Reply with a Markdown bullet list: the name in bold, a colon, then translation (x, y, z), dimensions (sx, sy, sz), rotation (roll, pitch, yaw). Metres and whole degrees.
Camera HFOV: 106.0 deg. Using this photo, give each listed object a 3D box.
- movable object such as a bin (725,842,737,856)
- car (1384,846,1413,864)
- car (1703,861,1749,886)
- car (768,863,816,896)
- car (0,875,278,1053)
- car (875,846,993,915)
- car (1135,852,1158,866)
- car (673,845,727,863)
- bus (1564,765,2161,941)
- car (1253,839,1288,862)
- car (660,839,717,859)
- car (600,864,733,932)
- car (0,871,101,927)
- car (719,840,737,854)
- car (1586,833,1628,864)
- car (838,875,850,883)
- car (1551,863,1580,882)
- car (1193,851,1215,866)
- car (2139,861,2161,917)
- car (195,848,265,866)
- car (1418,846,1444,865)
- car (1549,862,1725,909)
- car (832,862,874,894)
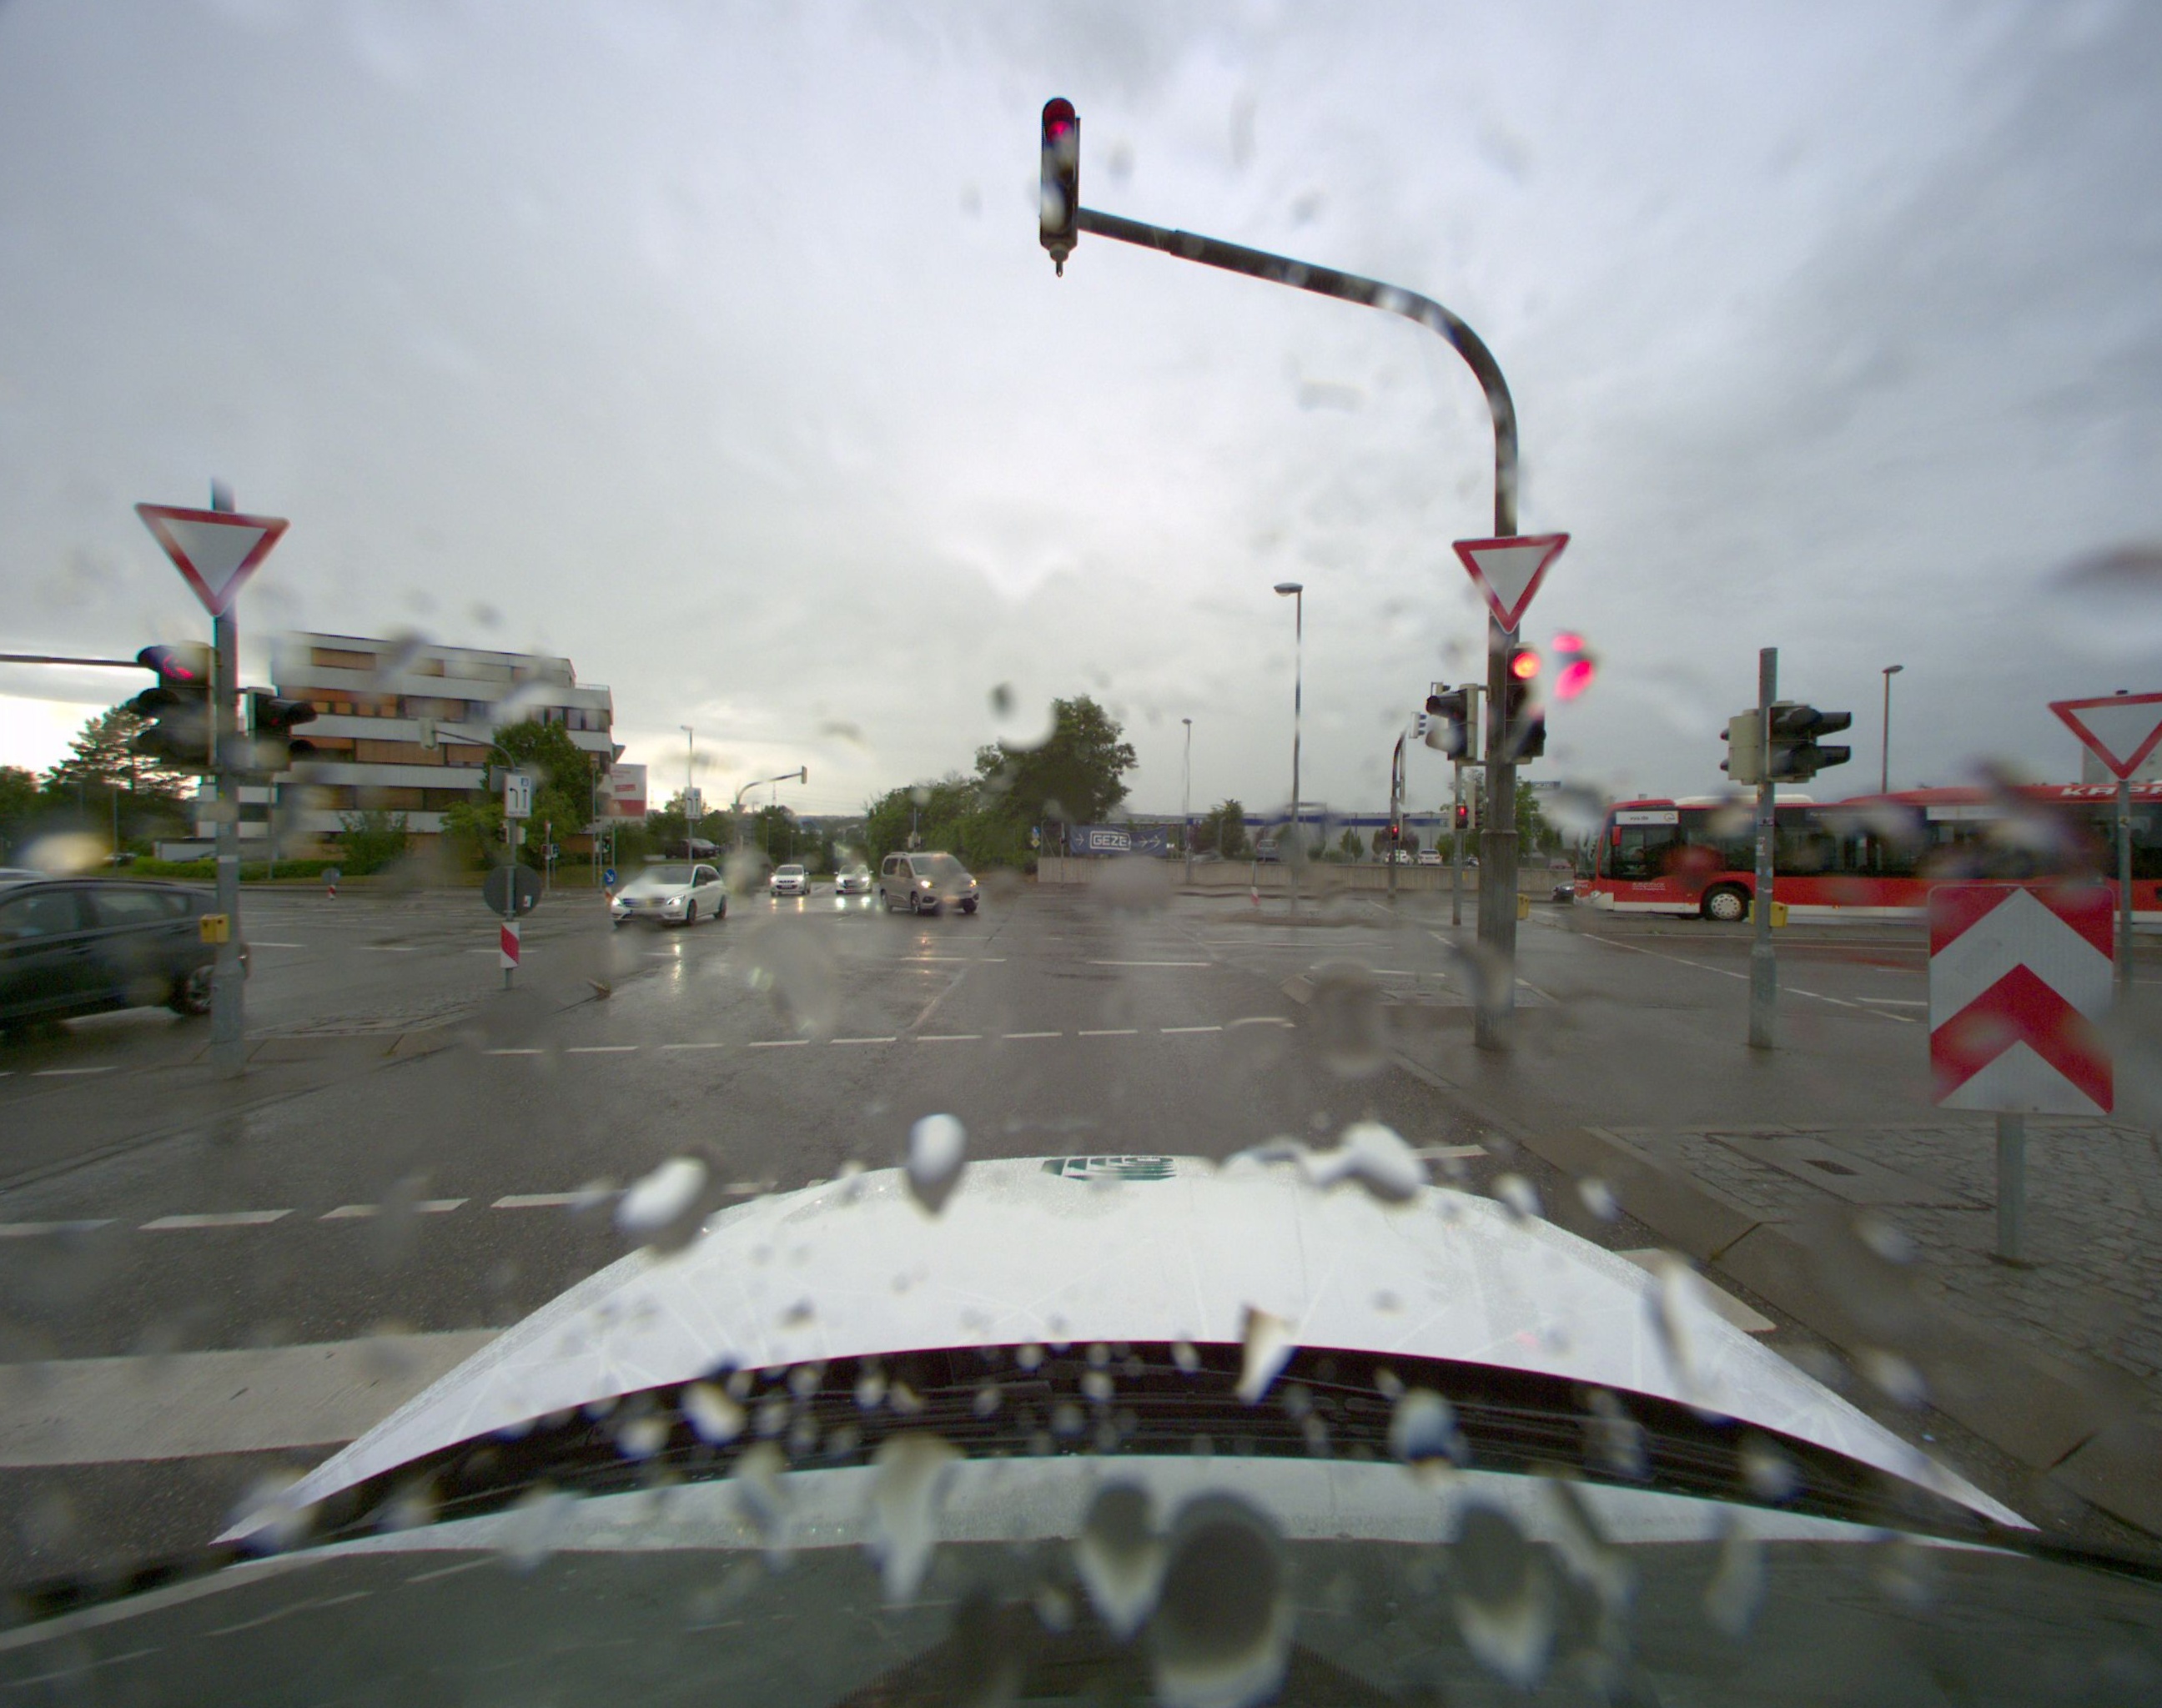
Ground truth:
- **movable object such as a bin**: translation (-37.757, -0.519, 87.881), dimensions (1.089, 1.437, 1.434), rotation (1, -3, -25)
- **car**: translation (26.474, 0.124, 67.875), dimensions (1.800, 1.434, 4.128), rotation (-1, -1, 28)
- **car**: translation (53.042, 1.589, 67.039), dimensions (1.976, 2.014, 4.022), rotation (-1, -1, 24)
- **car**: translation (-14.786, 1.274, 41.853), dimensions (1.620, 1.505, 3.810), rotation (-2, 0, -10)
- **car**: translation (-9.933, 0.977, 7.307), dimensions (1.663, 1.438, 4.098), rotation (-2, 0, -7)
- **car**: translation (-4.474, 0.740, 24.296), dimensions (2.007, 1.844, 4.439), rotation (0, -1, -31)
- **car**: translation (7.770, 0.595, 95.894), dimensions (1.651, 1.606, 3.550), rotation (-1, -1, 23)
- **car**: translation (-33.810, 0.023, 72.276), dimensions (3.958, 1.586, 1.909), rotation (0, -2, 14)
- **bus**: translation (18.715, -0.121, 19.255), dimensions (12.152, 3.576, 3.001), rotation (2, 0, 19)
- **car**: translation (13.353, -0.233, 57.276), dimensions (1.727, 1.553, 3.550), rotation (-1, -1, 23)
- **car**: translation (-33.425, -0.431, 69.345), dimensions (3.962, 1.586, 1.907), rotation (0, -2, 10)
- **car**: translation (-10.723, 1.067, 21.444), dimensions (1.663, 1.505, 4.312), rotation (-2, 0, -7)
- **car**: translation (-28.731, 1.168, 21.795), dimensions (4.479, 1.363, 1.771), rotation (-1, -1, 20)
- **car**: translation (-41.536, -0.822, 95.657), dimensions (1.836, 1.442, 3.967), rotation (1, -2, -25)
- **car**: translation (35.320, -0.361, 54.762), dimensions (1.727, 2.014, 3.844), rotation (-1, -1, 23)
- **car**: translation (-44.757, 4.722, 153.823), dimensions (1.661, 1.494, 3.987), rotation (0, -1, -9)
- **car**: translation (43.241, 1.637, 72.709), dimensions (1.905, 1.589, 3.811), rotation (0, 0, 25)
- **car**: translation (13.954, 0.522, 92.440), dimensions (1.651, 1.606, 3.550), rotation (-1, -1, 23)
- **car**: translation (31.678, 0.960, 21.477), dimensions (4.344, 1.538, 1.834), rotation (0, 0, 18)
- **car**: translation (-70.158, 0.243, 67.205), dimensions (3.779, 1.399, 1.977), rotation (0, 0, -40)
- **car**: translation (28.902, 0.147, 67.185), dimensions (1.841, 1.526, 4.127), rotation (-1, -1, 25)
- **car**: translation (17.670, 0.968, 26.139), dimensions (4.344, 1.354, 1.834), rotation (0, 0, 18)
- **car**: translation (-11.612, 1.190, 41.660), dimensions (1.867, 1.508, 3.962), rotation (0, -1, -13)
